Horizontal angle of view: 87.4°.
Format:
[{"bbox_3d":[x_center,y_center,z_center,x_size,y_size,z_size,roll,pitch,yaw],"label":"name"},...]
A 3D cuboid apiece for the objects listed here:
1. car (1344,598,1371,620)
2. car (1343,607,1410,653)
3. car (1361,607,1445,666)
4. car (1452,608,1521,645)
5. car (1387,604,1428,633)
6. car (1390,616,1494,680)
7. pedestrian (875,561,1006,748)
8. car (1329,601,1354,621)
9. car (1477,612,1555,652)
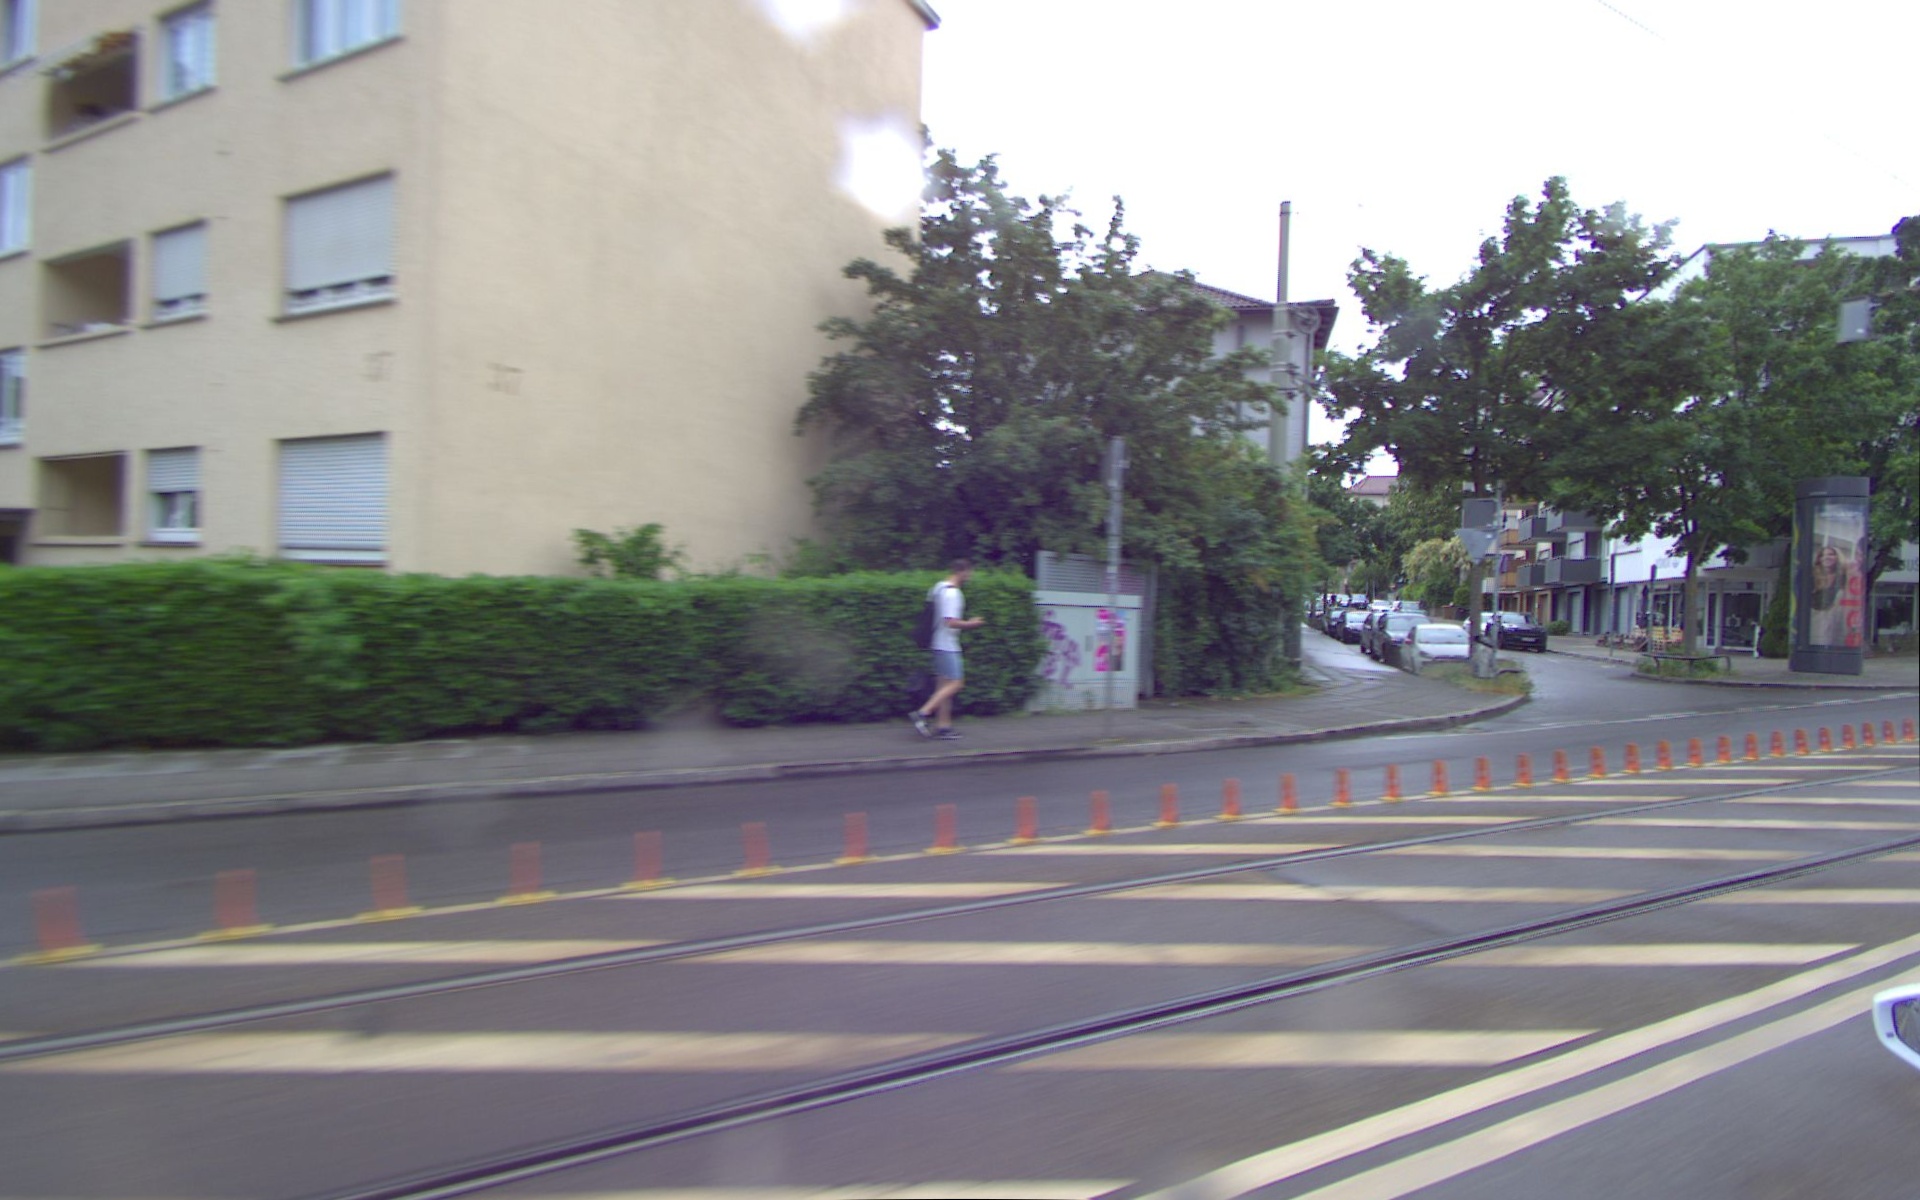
[{"bbox_3d":[39.564,0.923,100.072,1.960,2.040,4.002,3,0,15],"label":"car"},{"bbox_3d":[16.115,1.127,39.024,1.805,1.600,4.175,2,0,15],"label":"car"},{"bbox_3d":[14.664,1.150,33.500,1.805,1.728,4.643,2,0,15],"label":"car"},{"bbox_3d":[25.881,1.263,49.532,1.960,1.617,4.675,3,0,15],"label":"car"},{"bbox_3d":[31.626,1.271,71.075,1.960,1.885,4.002,3,0,15],"label":"car"},{"bbox_3d":[13.312,1.264,27.994,1.960,1.500,4.161,3,0,17],"label":"car"},{"bbox_3d":[-0.222,0.551,10.784,1.007,1.870,0.913,2,2,-34],"label":"pedestrian"},{"bbox_3d":[40.749,1.179,107.251,1.960,2.040,4.002,3,0,15],"label":"car"},{"bbox_3d":[24.284,1.349,44.014,1.960,1.538,4.002,3,0,15],"label":"car"}]
